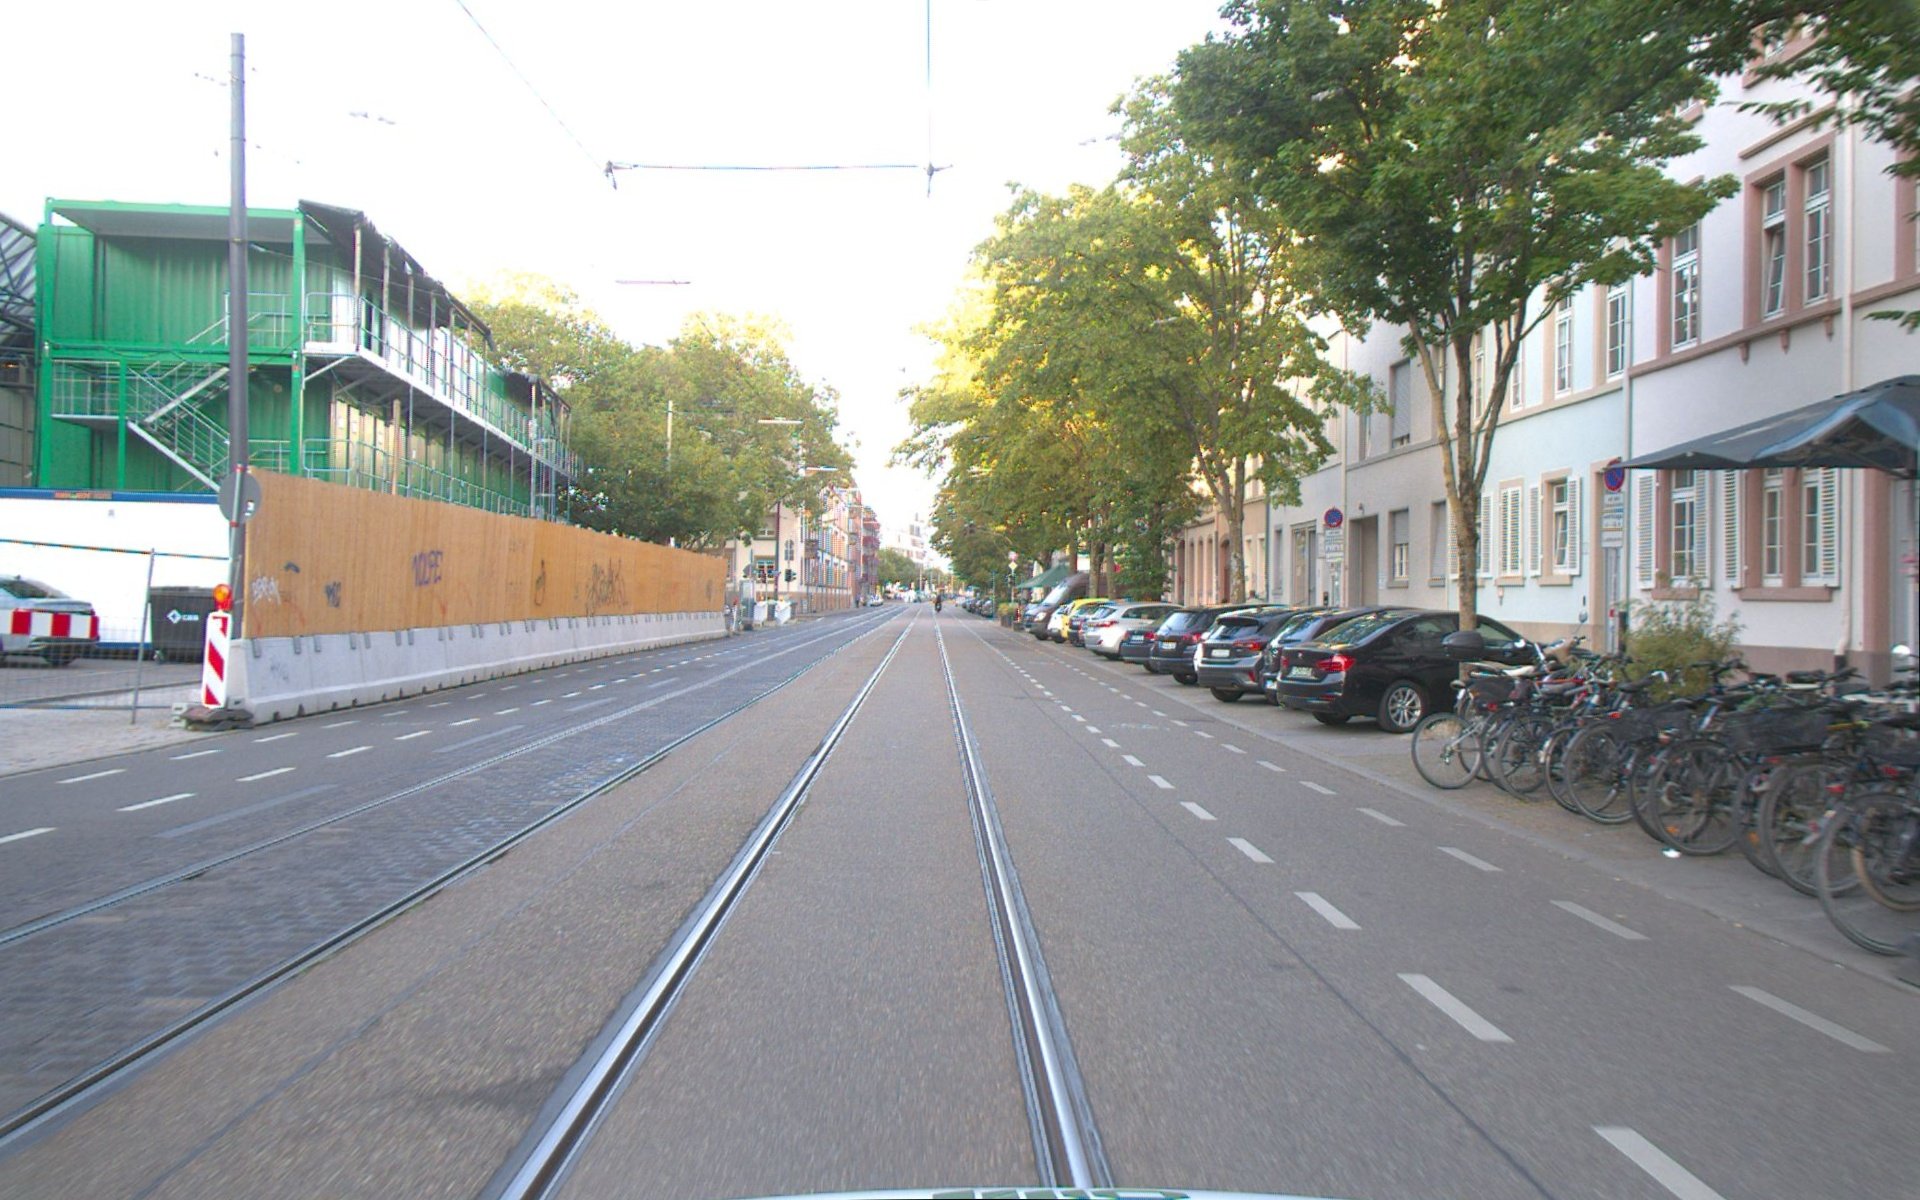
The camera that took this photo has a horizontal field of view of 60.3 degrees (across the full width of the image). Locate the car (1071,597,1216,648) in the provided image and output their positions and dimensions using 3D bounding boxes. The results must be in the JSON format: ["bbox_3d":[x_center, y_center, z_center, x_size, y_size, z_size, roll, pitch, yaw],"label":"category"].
[{"bbox_3d":[5.638,0.686,50.866,4.072,1.450,1.881,-1,-1,-27],"label":"car"}]

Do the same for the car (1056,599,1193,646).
[{"bbox_3d":[5.390,0.725,54.153,4.072,1.450,1.904,-1,-1,-27],"label":"car"}]

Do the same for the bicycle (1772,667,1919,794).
[{"bbox_3d":[7.240,0.986,12.779,1.779,0.888,0.325,-3,0,-3],"label":"bicycle"}]

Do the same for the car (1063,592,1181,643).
[{"bbox_3d":[5.591,0.601,57.542,3.870,1.648,1.920,-1,-1,-1],"label":"car"}]

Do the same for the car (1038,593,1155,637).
[{"bbox_3d":[5.042,0.556,61.263,3.900,1.512,1.905,-1,-1,-25],"label":"car"}]

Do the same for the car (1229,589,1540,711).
[{"bbox_3d":[6.105,0.674,23.935,3.887,1.496,1.991,-3,1,-18],"label":"car"}]

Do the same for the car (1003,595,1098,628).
[{"bbox_3d":[4.312,0.527,79.112,4.123,1.525,1.992,0,-1,-26],"label":"car"}]

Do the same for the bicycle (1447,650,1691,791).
[{"bbox_3d":[5.129,1.002,13.977,1.826,1.049,0.591,-3,0,-4],"label":"bicycle"}]

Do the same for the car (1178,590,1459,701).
[{"bbox_3d":[5.695,0.680,26.297,4.060,1.496,1.811,-3,1,-23],"label":"car"}]

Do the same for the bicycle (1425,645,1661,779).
[{"bbox_3d":[5.119,0.975,14.573,1.865,1.049,0.533,-3,0,-3],"label":"bicycle"}]

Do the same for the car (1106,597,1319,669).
[{"bbox_3d":[5.493,0.695,35.967,4.196,1.416,2.000,-1,0,-25],"label":"car"}]

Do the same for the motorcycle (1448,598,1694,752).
[{"bbox_3d":[6.316,0.756,17.183,2.178,1.487,0.967,-1,0,-3],"label":"motorcycle"}]

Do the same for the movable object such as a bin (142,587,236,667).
[{"bbox_3d":[-13.649,0.475,29.304,1.280,1.393,0.783,1,0,-5],"label":"movable object such as a bin"}]

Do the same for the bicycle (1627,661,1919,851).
[{"bbox_3d":[5.291,0.972,10.493,1.849,1.049,0.608,-3,0,-3],"label":"bicycle"}]

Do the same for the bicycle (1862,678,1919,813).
[{"bbox_3d":[7.264,0.973,11.536,1.779,0.888,0.325,-3,0,-3],"label":"bicycle"}]

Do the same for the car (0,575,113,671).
[{"bbox_3d":[-16.232,0.294,27.138,3.910,1.427,1.737,3,0,13],"label":"car"}]

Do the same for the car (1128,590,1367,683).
[{"bbox_3d":[5.466,0.661,31.470,4.065,1.496,1.999,-3,1,-26],"label":"car"}]

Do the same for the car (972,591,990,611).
[{"bbox_3d":[2.201,0.130,173.637,1.768,2.049,3.999,1,0,-1],"label":"car"}]

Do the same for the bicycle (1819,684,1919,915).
[{"bbox_3d":[5.351,0.941,8.267,1.779,1.049,0.608,-3,0,-3],"label":"bicycle"}]

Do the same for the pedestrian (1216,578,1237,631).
[{"bbox_3d":[8.149,0.142,50.615,0.527,1.595,0.813,0,0,1],"label":"pedestrian"}]

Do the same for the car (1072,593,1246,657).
[{"bbox_3d":[5.262,0.652,44.035,4.175,1.576,2.014,-1,0,-12],"label":"car"}]

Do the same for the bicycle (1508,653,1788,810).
[{"bbox_3d":[5.203,0.981,12.555,1.849,1.049,0.608,-3,0,-3],"label":"bicycle"}]

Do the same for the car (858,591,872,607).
[{"bbox_3d":[-13.642,-0.104,237.920,1.859,2.216,3.999,1,0,-1],"label":"car"}]

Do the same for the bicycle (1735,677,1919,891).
[{"bbox_3d":[5.339,0.969,9.094,1.849,1.049,0.608,-3,0,-3],"label":"bicycle"}]

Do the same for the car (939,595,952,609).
[{"bbox_3d":[-2.255,0.295,253.008,1.859,2.049,3.999,1,0,-1],"label":"car"}]

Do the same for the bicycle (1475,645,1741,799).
[{"bbox_3d":[5.186,0.963,13.295,1.849,1.086,0.674,-3,0,-3],"label":"bicycle"}]

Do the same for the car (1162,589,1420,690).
[{"bbox_3d":[5.798,0.644,28.975,4.065,1.496,1.971,-3,1,-26],"label":"car"}]

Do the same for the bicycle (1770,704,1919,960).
[{"bbox_3d":[4.680,1.017,7.583,1.645,1.049,0.556,-3,0,-3],"label":"bicycle"}]

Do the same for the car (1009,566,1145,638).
[{"bbox_3d":[4.661,0.069,65.907,5.016,2.689,2.011,-1,0,-18],"label":"car"}]

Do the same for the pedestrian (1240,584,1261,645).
[{"bbox_3d":[8.812,0.427,50.231,0.554,1.846,0.607,0,0,2],"label":"pedestrian"}]

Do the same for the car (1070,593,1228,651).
[{"bbox_3d":[5.486,0.625,48.031,4.195,1.588,1.883,-1,-1,-24],"label":"car"}]

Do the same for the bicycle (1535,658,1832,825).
[{"bbox_3d":[5.192,1.002,11.921,1.849,1.049,0.608,-3,0,-3],"label":"bicycle"}]

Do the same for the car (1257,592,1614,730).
[{"bbox_3d":[6.077,0.722,21.186,4.101,1.451,1.812,-3,1,-20],"label":"car"}]

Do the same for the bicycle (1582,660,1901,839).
[{"bbox_3d":[5.255,0.991,11.168,1.849,1.049,0.608,-3,0,-3],"label":"bicycle"}]

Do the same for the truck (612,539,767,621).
[{"bbox_3d":[-12.825,-0.954,78.788,6.919,3.541,2.539,3,0,-5],"label":"truck"}]

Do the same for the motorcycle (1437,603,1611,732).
[{"bbox_3d":[6.303,0.746,18.520,1.750,1.367,0.533,-1,0,-3],"label":"motorcycle"}]

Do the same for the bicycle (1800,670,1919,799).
[{"bbox_3d":[7.264,0.979,12.386,1.779,0.888,0.325,-3,0,-3],"label":"bicycle"}]

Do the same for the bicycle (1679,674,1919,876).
[{"bbox_3d":[5.323,1.008,9.793,1.849,1.049,0.608,-3,0,-3],"label":"bicycle"}]
